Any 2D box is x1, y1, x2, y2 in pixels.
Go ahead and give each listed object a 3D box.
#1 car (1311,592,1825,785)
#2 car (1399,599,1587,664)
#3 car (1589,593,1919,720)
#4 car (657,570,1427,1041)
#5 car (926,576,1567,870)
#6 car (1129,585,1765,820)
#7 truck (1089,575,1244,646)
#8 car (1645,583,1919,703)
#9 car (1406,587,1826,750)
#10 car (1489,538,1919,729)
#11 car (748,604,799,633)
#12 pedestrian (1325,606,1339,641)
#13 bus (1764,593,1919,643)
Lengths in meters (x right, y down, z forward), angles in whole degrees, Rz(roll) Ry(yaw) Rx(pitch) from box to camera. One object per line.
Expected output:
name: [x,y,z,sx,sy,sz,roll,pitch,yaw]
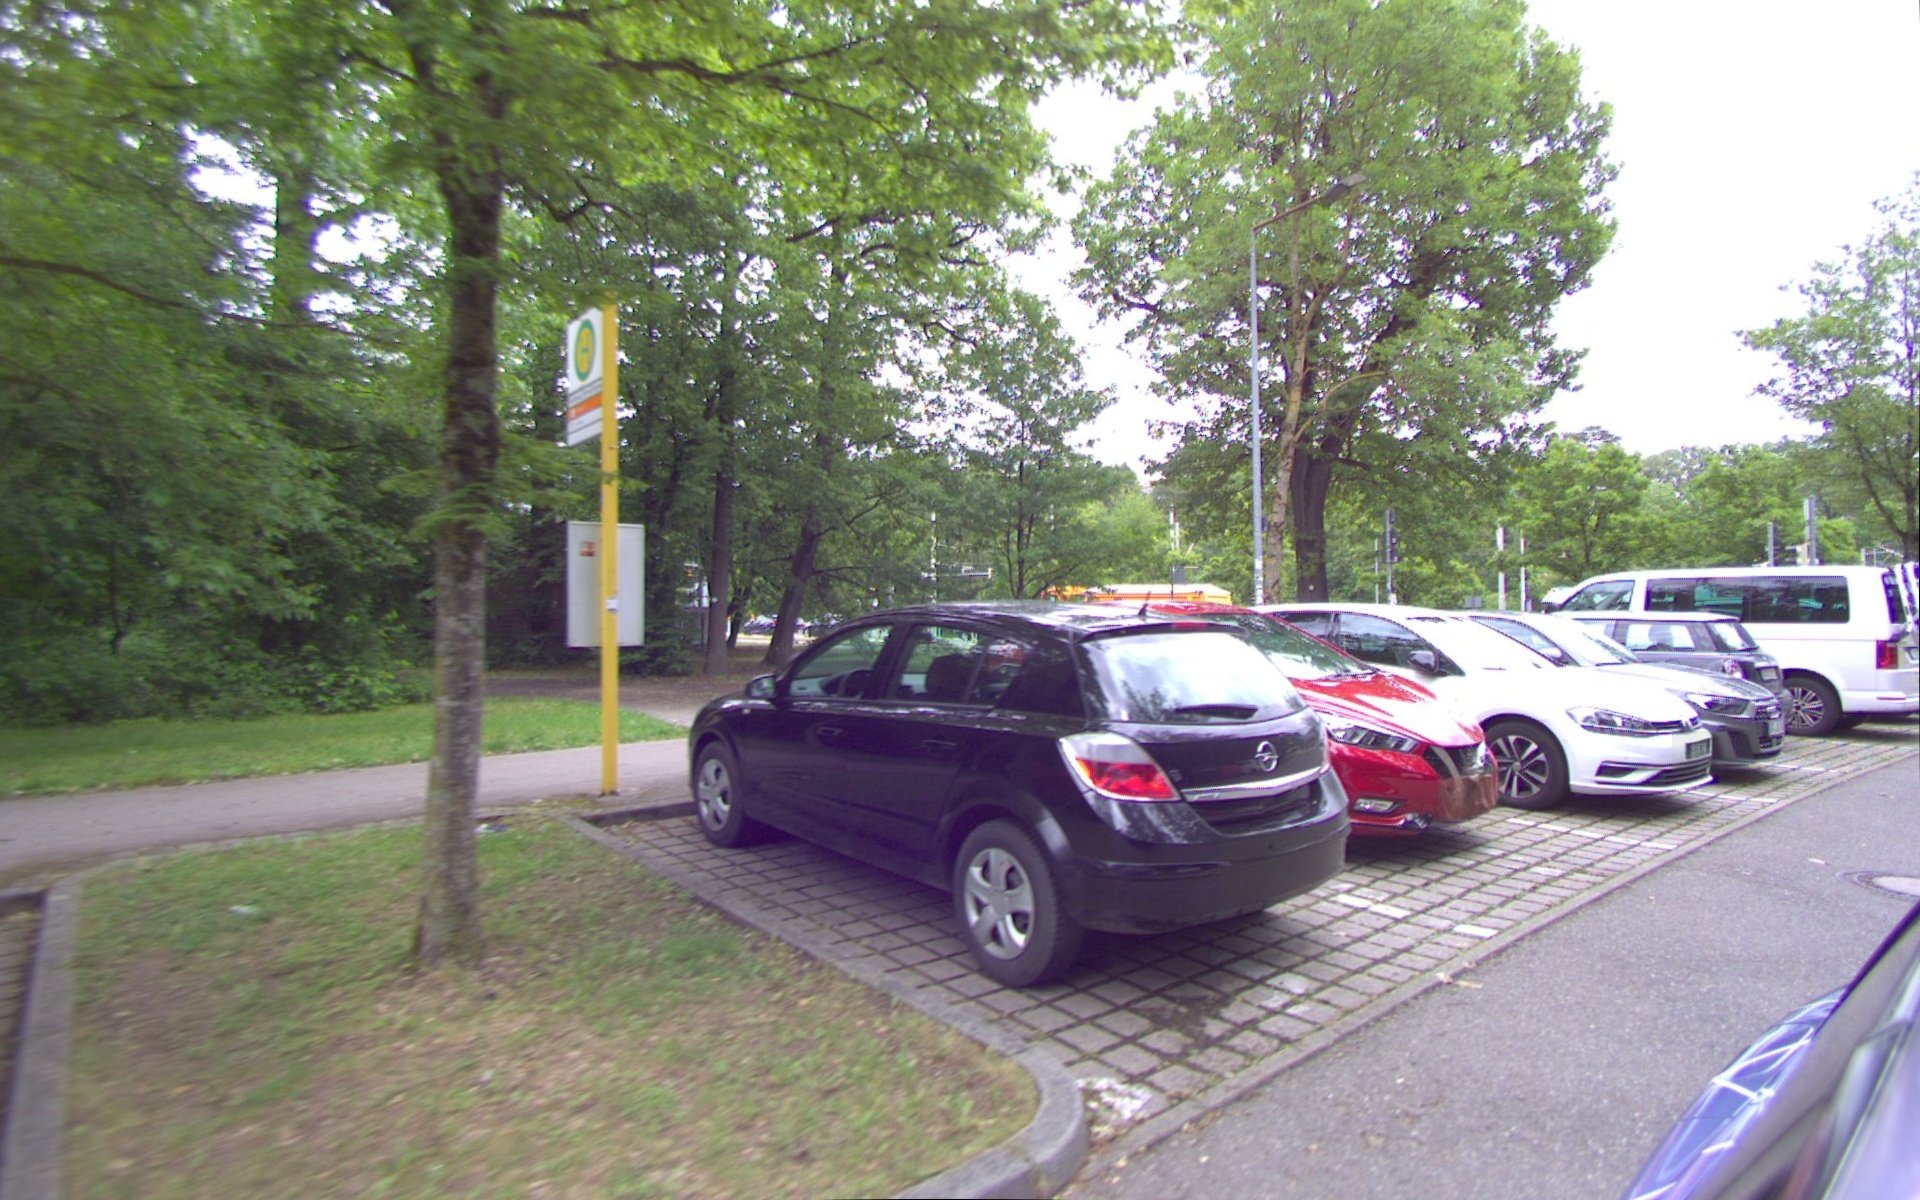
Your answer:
car: [5.834,0.748,10.163,1.843,1.502,3.997,-1,-1,-37]
car: [15.658,0.941,29.903,4.562,1.773,1.968,-2,-4,44]
car: [11.826,0.767,14.819,1.907,1.575,4.014,1,-2,-29]
car: [0.069,0.642,5.394,1.887,1.502,3.996,0,0,-39]
car: [1.761,0.623,7.417,1.884,1.499,4.238,0,0,-39]
car: [3.859,0.660,8.935,1.818,1.494,4.786,1,-1,-36]
truck: [10.967,0.529,54.554,2.817,3.559,8.235,2,-1,-40]
car: [13.913,0.604,16.079,2.122,1.714,4.539,0,0,-30]
car: [7.493,0.752,11.877,1.811,1.575,3.732,3,-4,-37]
car: [9.807,0.459,13.251,2.043,2.048,4.662,2,-3,-35]
car: [-12.402,1.256,67.202,1.769,1.761,3.697,3,-4,-40]
pedestrian: [25.368,1.596,68.993,0.850,2.325,0.614,0,-3,15]
bus: [73.457,1.501,79.840,18.199,3.529,3.982,1,-3,-7]
